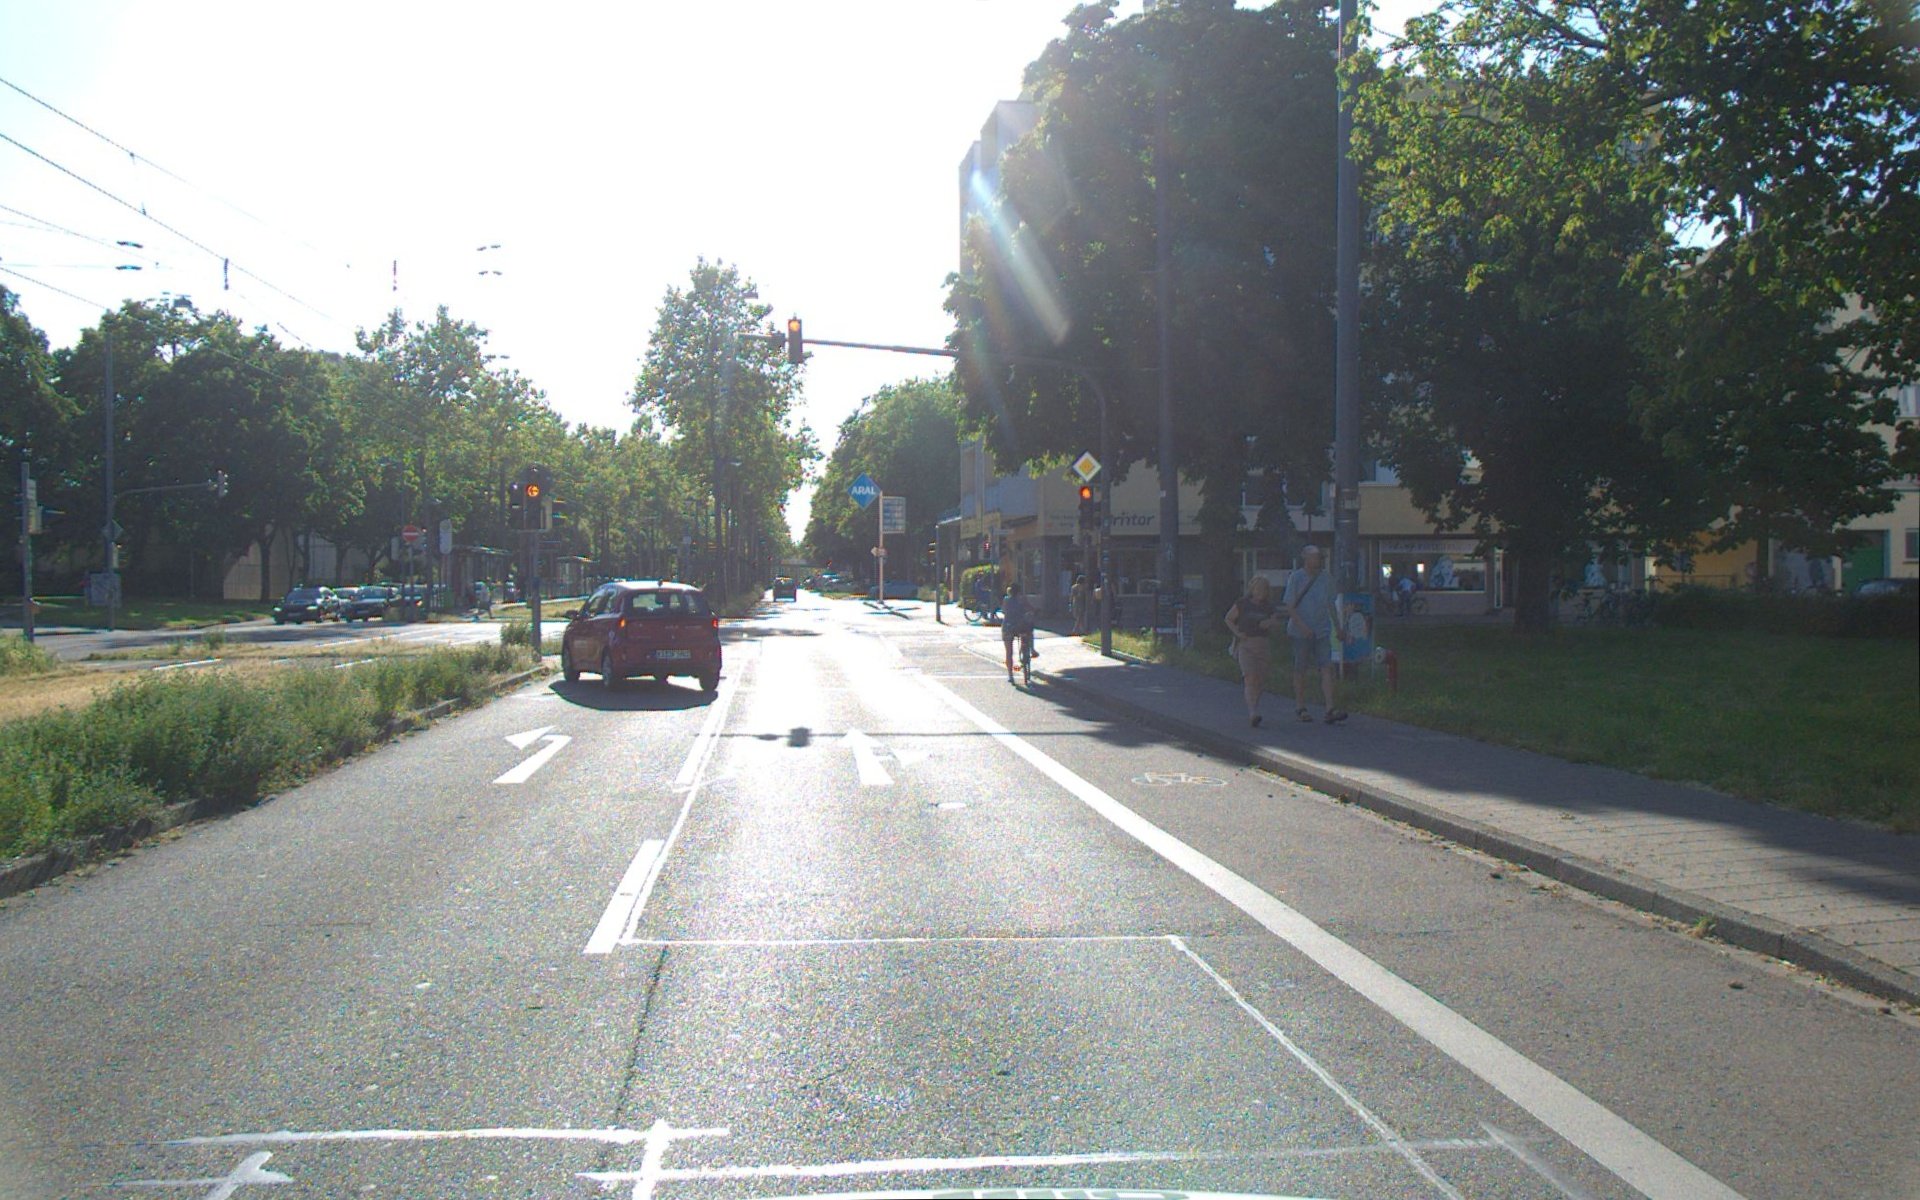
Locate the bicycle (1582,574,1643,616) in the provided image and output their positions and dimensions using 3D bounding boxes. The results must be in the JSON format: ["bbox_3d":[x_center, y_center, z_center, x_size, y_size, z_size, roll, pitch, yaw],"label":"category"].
[{"bbox_3d":[17.207,-0.150,43.673,0.585,1.052,2.004,2,1,-7],"label":"bicycle"}]

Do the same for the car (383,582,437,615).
[{"bbox_3d":[-25.267,-0.085,76.067,1.536,1.426,3.910,2,1,-6],"label":"car"}]

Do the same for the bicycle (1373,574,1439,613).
[{"bbox_3d":[17.357,-0.259,64.372,2.423,1.423,0.607,2,1,-8],"label":"bicycle"}]

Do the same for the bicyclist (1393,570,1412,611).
[{"bbox_3d":[17.069,-0.369,63.779,0.517,1.594,0.463,2,1,-9],"label":"bicyclist"}]

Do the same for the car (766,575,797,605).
[{"bbox_3d":[-12.159,-0.696,112.521,1.931,1.892,3.994,2,1,-8],"label":"car"}]

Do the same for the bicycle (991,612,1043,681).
[{"bbox_3d":[0.886,0.709,25.999,0.635,0.989,1.802,2,1,-3],"label":"bicycle"}]

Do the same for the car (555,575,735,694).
[{"bbox_3d":[-4.658,0.449,24.097,1.673,1.534,3.669,1,1,-26],"label":"car"}]

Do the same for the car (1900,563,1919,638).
[{"bbox_3d":[21.386,-0.009,34.112,3.187,1.555,1.573,-1,1,-8],"label":"car"}]

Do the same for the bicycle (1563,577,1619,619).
[{"bbox_3d":[16.605,-0.070,43.559,0.585,1.052,1.793,2,1,-7],"label":"bicycle"}]

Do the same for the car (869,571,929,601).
[{"bbox_3d":[-4.217,-0.967,114.483,3.903,1.892,2.013,2,1,4],"label":"car"}]

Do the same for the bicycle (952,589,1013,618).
[{"bbox_3d":[0.853,0.131,62.040,2.203,1.004,0.790,0,6,9],"label":"bicycle"}]

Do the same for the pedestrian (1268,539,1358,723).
[{"bbox_3d":[3.623,0.301,17.021,0.689,1.820,0.694,-3,2,-1],"label":"pedestrian"}]

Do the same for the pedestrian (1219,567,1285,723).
[{"bbox_3d":[3.002,0.452,17.039,0.518,1.555,0.627,-2,1,-1],"label":"pedestrian"}]

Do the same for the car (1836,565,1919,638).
[{"bbox_3d":[21.297,0.007,36.501,3.187,1.555,1.573,-1,1,-8],"label":"car"}]

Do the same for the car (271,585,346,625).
[{"bbox_3d":[-27.119,0.189,69.013,1.772,1.559,4.356,-1,1,-6],"label":"car"}]

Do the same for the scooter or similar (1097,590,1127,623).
[{"bbox_3d":[3.689,0.153,40.158,0.586,0.750,0.680,2,1,-7],"label":"scooter or similar"}]

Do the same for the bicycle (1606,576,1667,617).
[{"bbox_3d":[17.874,-0.102,43.730,0.585,1.052,1.988,2,1,-7],"label":"bicycle"}]

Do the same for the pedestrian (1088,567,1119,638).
[{"bbox_3d":[3.536,0.047,40.757,0.714,1.711,0.533,2,1,6],"label":"pedestrian"}]

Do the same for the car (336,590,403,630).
[{"bbox_3d":[-24.866,0.384,69.742,1.655,1.559,4.356,-1,1,-6],"label":"car"}]

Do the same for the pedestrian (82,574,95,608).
[{"bbox_3d":[-41.333,-0.425,78.435,0.427,1.587,0.304,2,1,-10],"label":"pedestrian"}]

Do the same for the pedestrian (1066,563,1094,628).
[{"bbox_3d":[2.962,-0.114,40.750,0.633,1.549,0.496,2,1,6],"label":"pedestrian"}]

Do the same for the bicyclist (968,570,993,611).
[{"bbox_3d":[0.781,-0.378,62.067,0.752,1.496,0.899,-1,2,11],"label":"bicyclist"}]

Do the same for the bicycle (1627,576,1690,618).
[{"bbox_3d":[18.485,-0.088,43.816,0.585,1.052,2.004,2,1,-7],"label":"bicycle"}]

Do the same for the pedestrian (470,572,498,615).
[{"bbox_3d":[-18.199,-0.255,63.240,0.874,1.634,0.613,2,1,-6],"label":"pedestrian"}]

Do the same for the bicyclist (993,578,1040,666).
[{"bbox_3d":[0.892,0.335,26.128,0.625,1.346,0.802,2,1,-4],"label":"bicyclist"}]
